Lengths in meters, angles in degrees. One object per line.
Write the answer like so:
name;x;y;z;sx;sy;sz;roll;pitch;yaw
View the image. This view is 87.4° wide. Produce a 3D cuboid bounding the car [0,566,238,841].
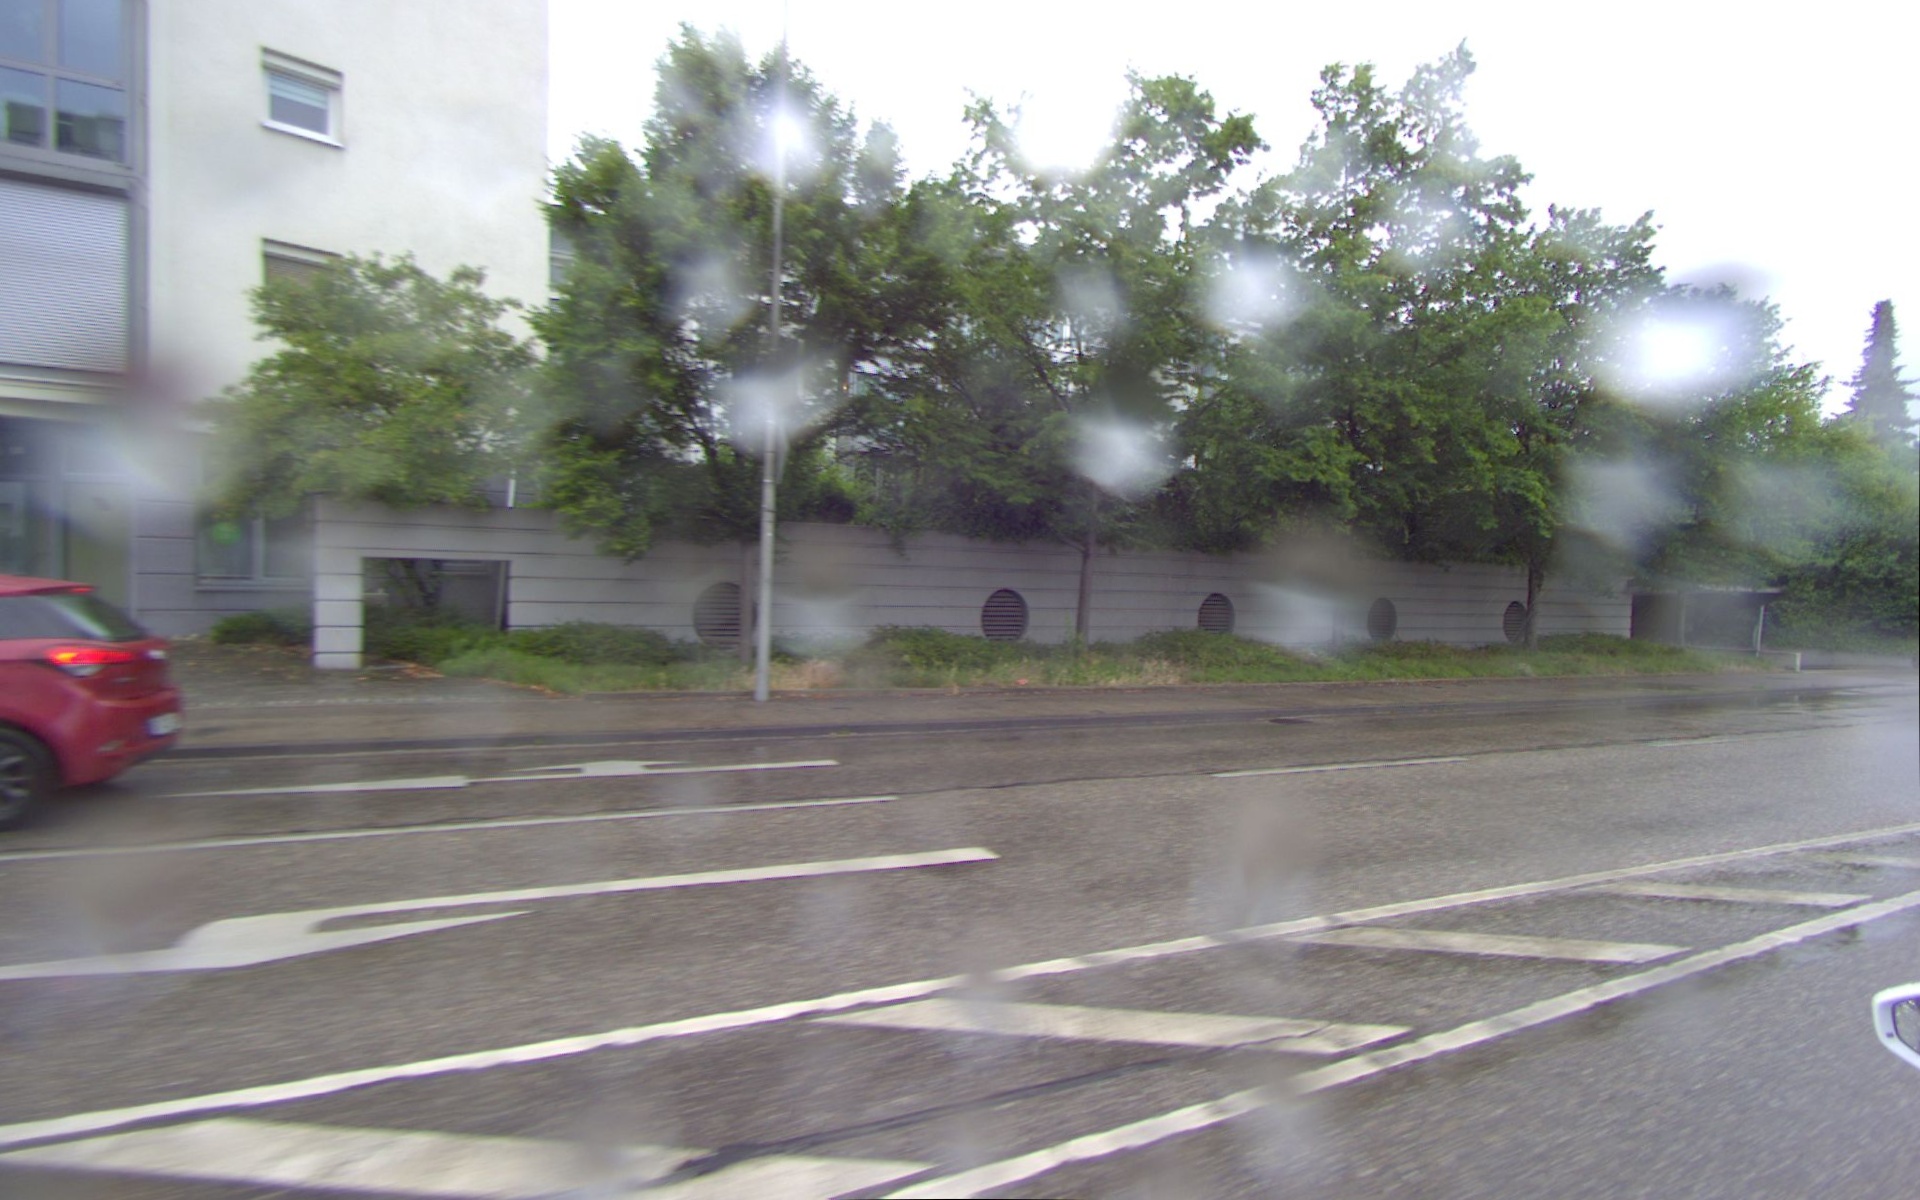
car;-6.864;0.549;5.816;4.049;1.526;1.770;2;-1;-26
